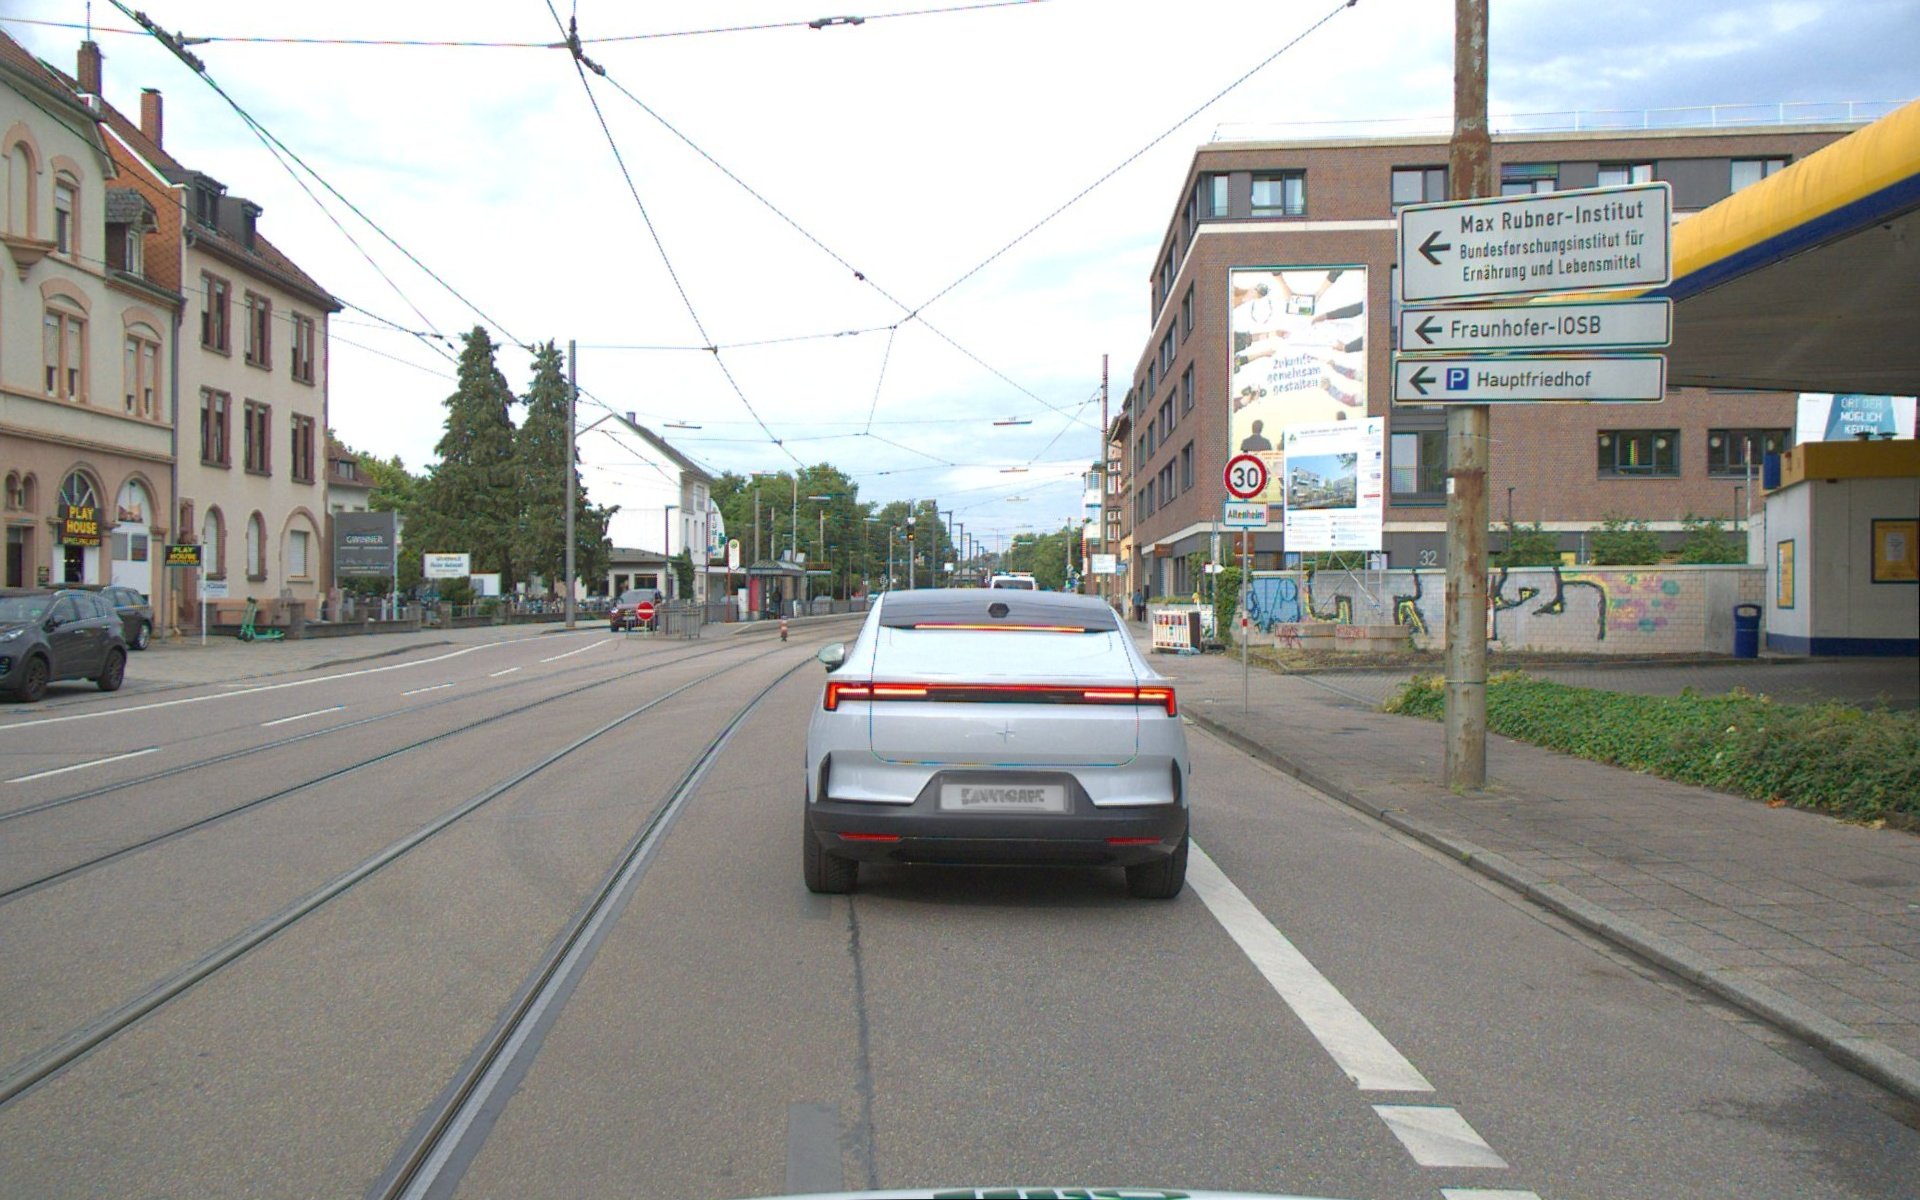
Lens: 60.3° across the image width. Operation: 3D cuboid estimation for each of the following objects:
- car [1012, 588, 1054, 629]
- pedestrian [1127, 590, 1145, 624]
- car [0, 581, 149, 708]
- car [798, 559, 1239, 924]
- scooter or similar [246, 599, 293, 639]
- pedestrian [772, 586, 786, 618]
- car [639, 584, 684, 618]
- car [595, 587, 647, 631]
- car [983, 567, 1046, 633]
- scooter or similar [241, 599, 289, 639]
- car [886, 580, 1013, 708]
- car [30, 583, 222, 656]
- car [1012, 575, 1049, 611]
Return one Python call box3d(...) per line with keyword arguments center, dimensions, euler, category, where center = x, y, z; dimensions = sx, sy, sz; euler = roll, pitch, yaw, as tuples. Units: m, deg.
box3d(center=(3.809, 0.450, 86.434), dimensions=(1.953, 2.049, 3.999), euler=(1, 0, -1), category="car")
box3d(center=(10.186, 0.391, 95.803), dimensions=(0.940, 1.882, 0.976), euler=(-2, 1, 8), category="pedestrian")
box3d(center=(-14.903, 0.626, 26.313), dimensions=(1.997, 1.780, 4.531), euler=(2, 1, -5), category="car")
box3d(center=(0.208, 0.652, 9.426), dimensions=(1.959, 1.608, 3.998), euler=(1, 0, -2), category="car")
box3d(center=(-19.665, 0.531, 47.105), dimensions=(1.162, 1.121, 0.522), euler=(1, -1, -32), category="scooter or similar")
box3d(center=(-9.595, 0.100, 87.871), dimensions=(0.602, 1.694, 0.698), euler=(1, -1, 4), category="pedestrian")
box3d(center=(-14.496, 0.072, 80.458), dimensions=(1.755, 1.557, 4.136), euler=(-2, 0, -5), category="car")
box3d(center=(-13.797, 0.368, 67.530), dimensions=(1.807, 1.754, 4.399), euler=(0, 0, -8), category="car")
box3d(center=(2.079, 0.017, 64.838), dimensions=(2.181, 2.444, 5.122), euler=(1, 0, -1), category="car")
box3d(center=(-19.461, 0.531, 46.292), dimensions=(1.162, 1.121, 0.522), euler=(1, -1, -32), category="scooter or similar")
box3d(center=(-0.087, 0.612, 24.523), dimensions=(1.646, 1.717, 3.825), euler=(1, 0, 3), category="car")
box3d(center=(-18.538, 0.415, 37.062), dimensions=(1.953, 1.519, 4.900), euler=(1, 0, -2), category="car")
box3d(center=(4.162, -0.386, 98.048), dimensions=(1.953, 2.049, 3.999), euler=(1, 0, -1), category="car")
